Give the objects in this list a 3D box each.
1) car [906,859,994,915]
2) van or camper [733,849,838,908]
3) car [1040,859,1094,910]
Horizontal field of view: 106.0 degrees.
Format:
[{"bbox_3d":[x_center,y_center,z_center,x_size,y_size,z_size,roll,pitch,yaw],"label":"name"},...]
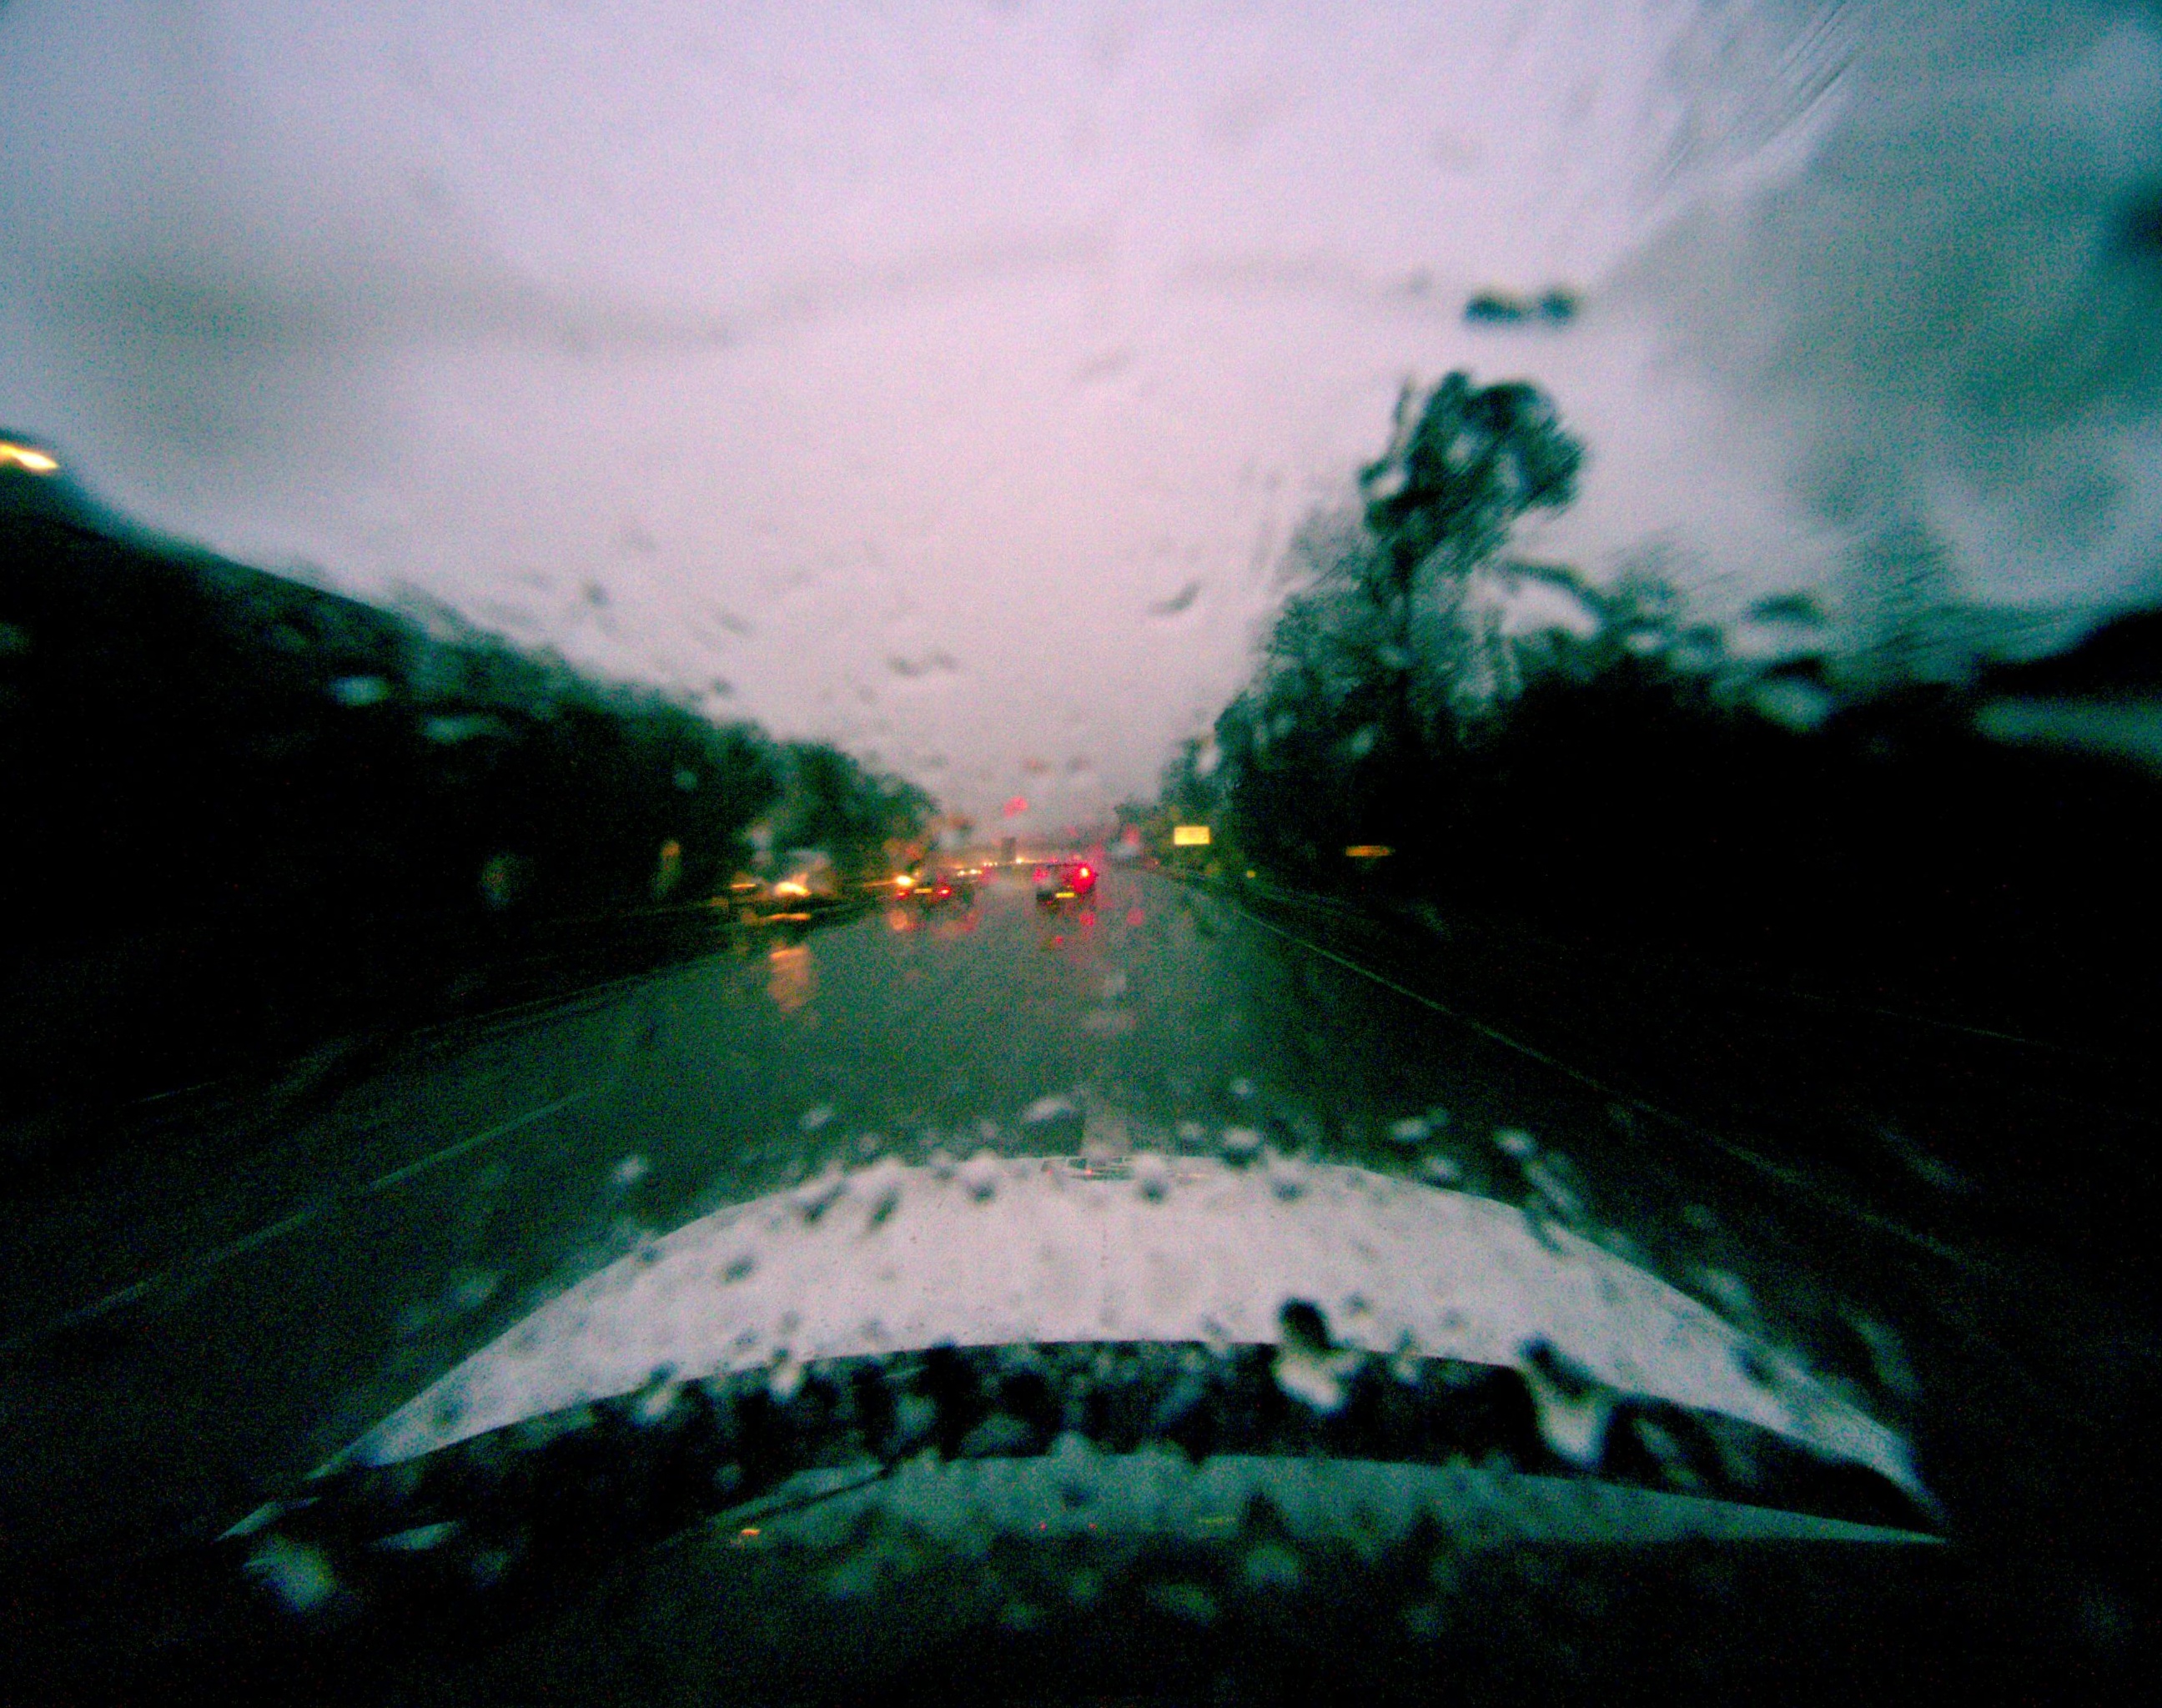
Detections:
[{"bbox_3d":[-4.141,1.003,26.451,1.769,1.534,4.706,-4,0,3],"label":"car"},{"bbox_3d":[-13.937,1.062,39.095,2.068,2.571,7.407,1,0,2],"label":"van or camper"},{"bbox_3d":[-0.375,0.880,24.863,1.522,1.415,3.479,0,0,1],"label":"car"}]
